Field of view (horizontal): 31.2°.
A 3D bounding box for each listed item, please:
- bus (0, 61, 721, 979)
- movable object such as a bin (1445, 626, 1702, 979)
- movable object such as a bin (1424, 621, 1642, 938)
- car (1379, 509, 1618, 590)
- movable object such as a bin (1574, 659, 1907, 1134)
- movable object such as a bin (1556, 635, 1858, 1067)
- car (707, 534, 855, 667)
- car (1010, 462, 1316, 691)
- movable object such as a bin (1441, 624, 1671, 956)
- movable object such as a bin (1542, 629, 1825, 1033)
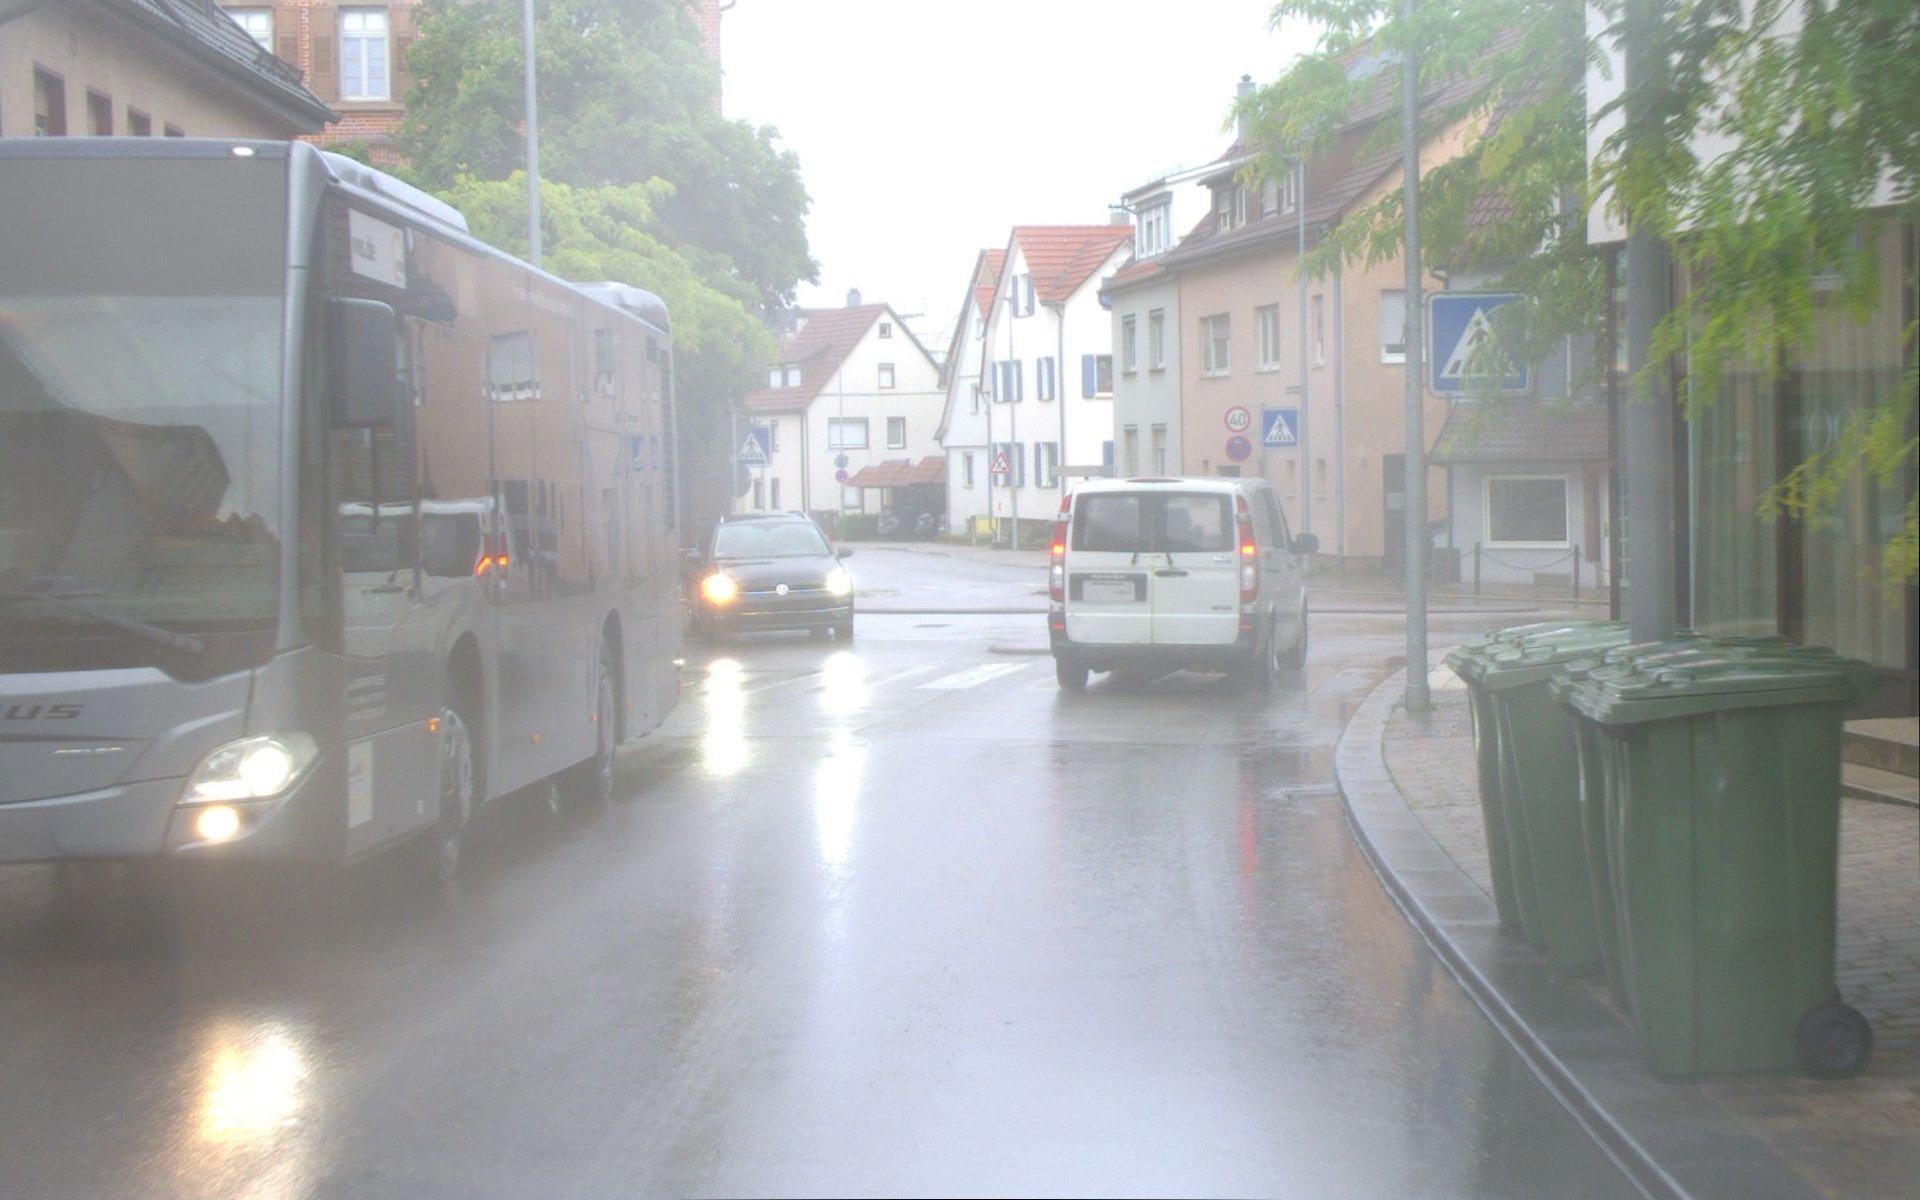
[{"bbox_3d":[-3.171,-0.399,17.039,2.724,3.069,10.946,0,1,3],"label":"bus"},{"bbox_3d":[2.016,0.653,11.365,0.761,1.114,0.624,0,1,3],"label":"movable object such as a bin"},{"bbox_3d":[2.084,0.643,12.564,0.724,1.114,0.576,0,1,3],"label":"movable object such as a bin"},{"bbox_3d":[10.106,-0.933,64.614,3.986,1.481,2.001,0,0,-12],"label":"car"},{"bbox_3d":[2.026,0.757,8.997,0.752,1.167,0.630,-1,1,6],"label":"movable object such as a bin"},{"bbox_3d":[2.120,0.701,9.827,0.752,1.167,0.630,-1,1,6],"label":"movable object such as a bin"},{"bbox_3d":[-2.100,-0.040,41.162,1.665,1.425,4.469,0,2,-2],"label":"car"},{"bbox_3d":[1.932,-0.217,31.002,2.153,1.892,4.923,0,0,11],"label":"car"},{"bbox_3d":[2.064,0.648,11.977,0.724,1.114,0.576,0,1,3],"label":"movable object such as a bin"},{"bbox_3d":[2.193,0.688,10.487,0.752,1.167,0.630,-1,1,6],"label":"movable object such as a bin"}]
